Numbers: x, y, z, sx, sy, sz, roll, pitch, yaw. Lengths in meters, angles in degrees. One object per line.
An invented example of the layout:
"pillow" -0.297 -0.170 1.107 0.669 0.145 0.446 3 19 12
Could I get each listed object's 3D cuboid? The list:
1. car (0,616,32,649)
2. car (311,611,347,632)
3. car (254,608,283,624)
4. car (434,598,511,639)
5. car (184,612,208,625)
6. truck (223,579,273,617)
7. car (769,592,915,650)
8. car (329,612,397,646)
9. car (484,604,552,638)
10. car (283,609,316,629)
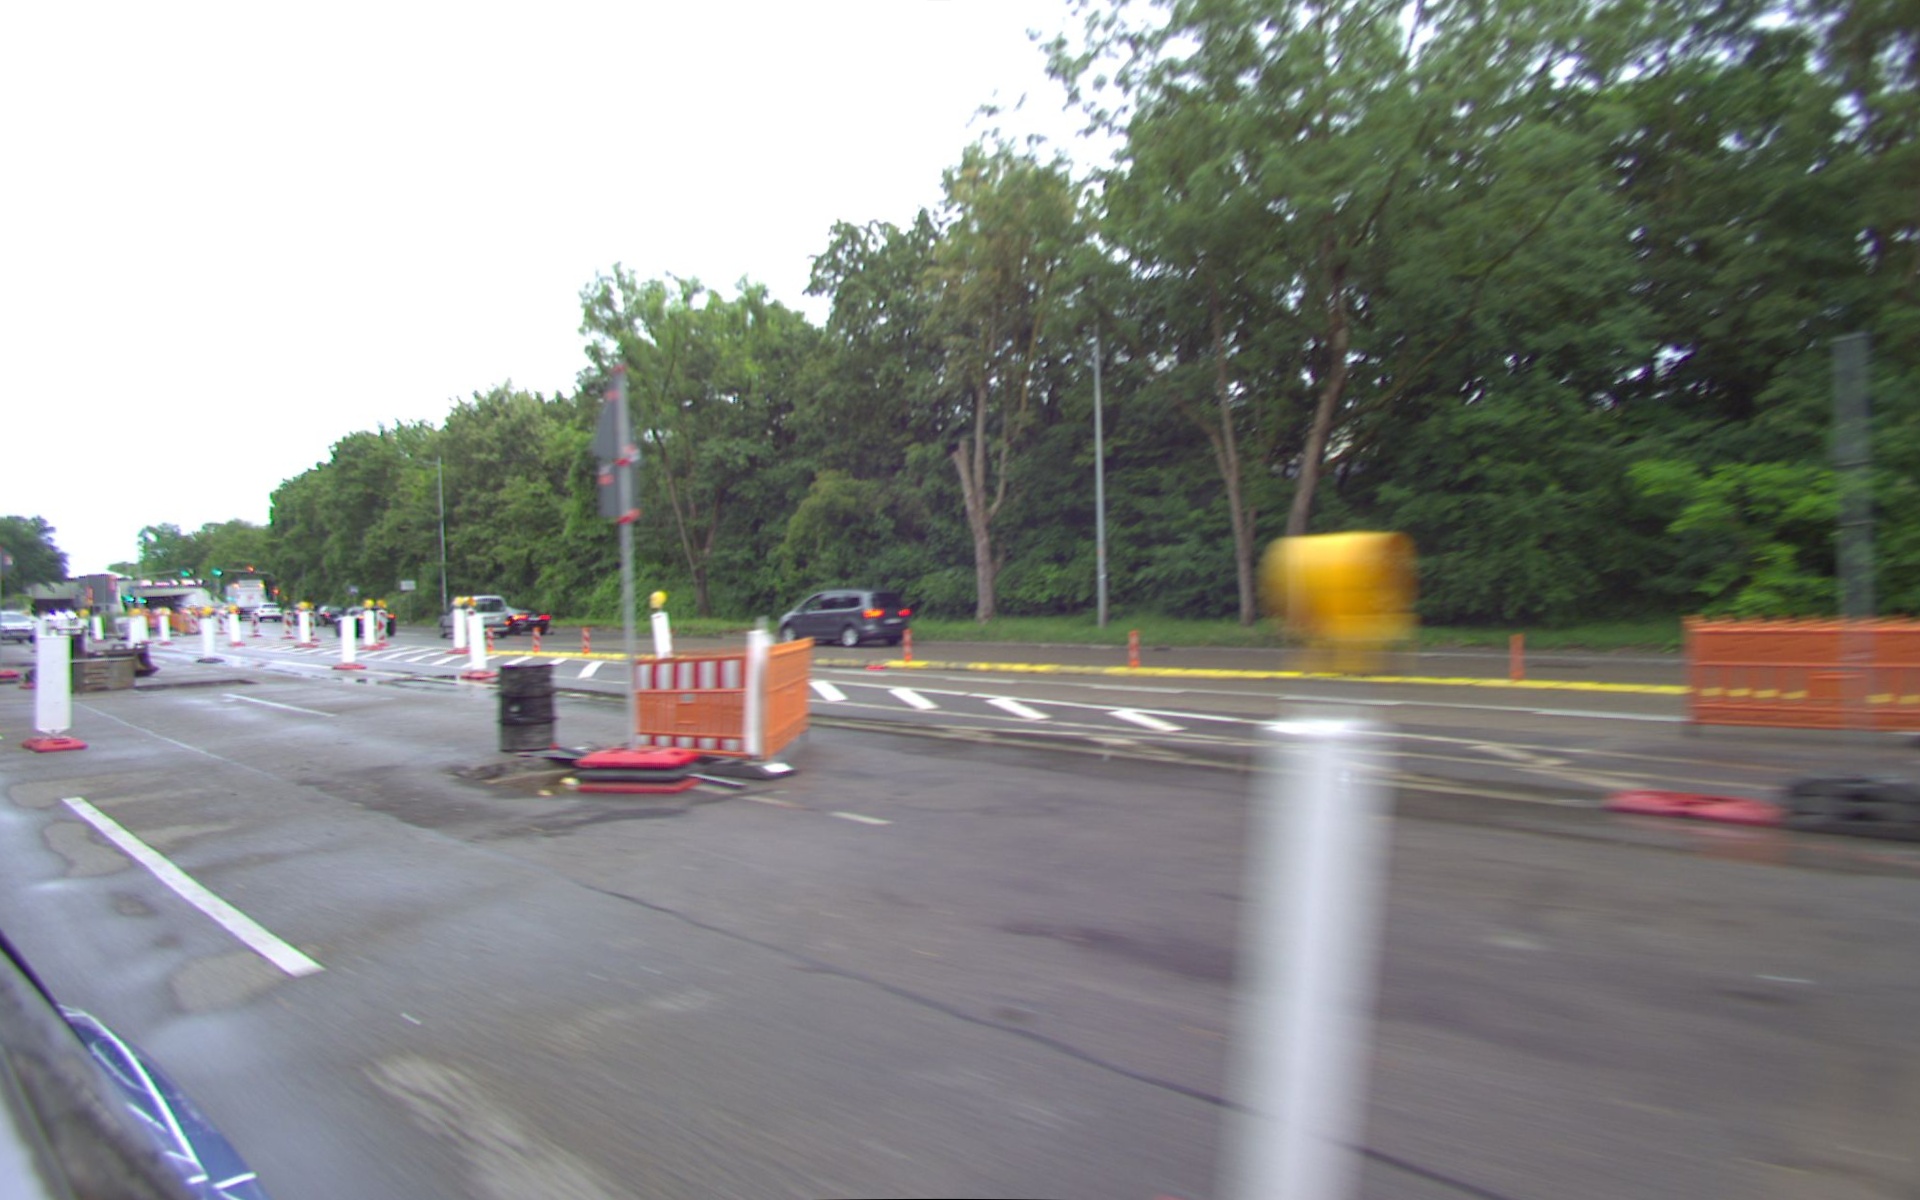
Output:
"car" -47.934 1.627 50.893 1.768 1.596 3.864 -3 1 -44
"car" -46.060 1.572 73.820 1.654 1.507 3.774 0 -1 -42
"car" -65.472 1.491 95.812 1.880 1.507 3.774 0 -1 -42
"car" -20.378 0.772 42.277 3.769 1.626 1.656 -1 -1 43
"car" -88.880 2.197 117.737 1.838 1.507 4.182 0 -1 -42
"truck" -75.562 -0.164 107.313 3.105 3.860 9.656 -1 0 -43
"car" -3.649 0.625 30.587 4.766 1.626 1.657 -1 -1 42
"car" -28.067 1.362 47.567 3.768 1.507 1.720 -1 -1 42
"car" -20.472 0.974 46.809 3.607 1.495 1.603 -1 -1 43
"car" -52.668 1.531 80.640 1.654 1.507 3.774 0 -1 -42
